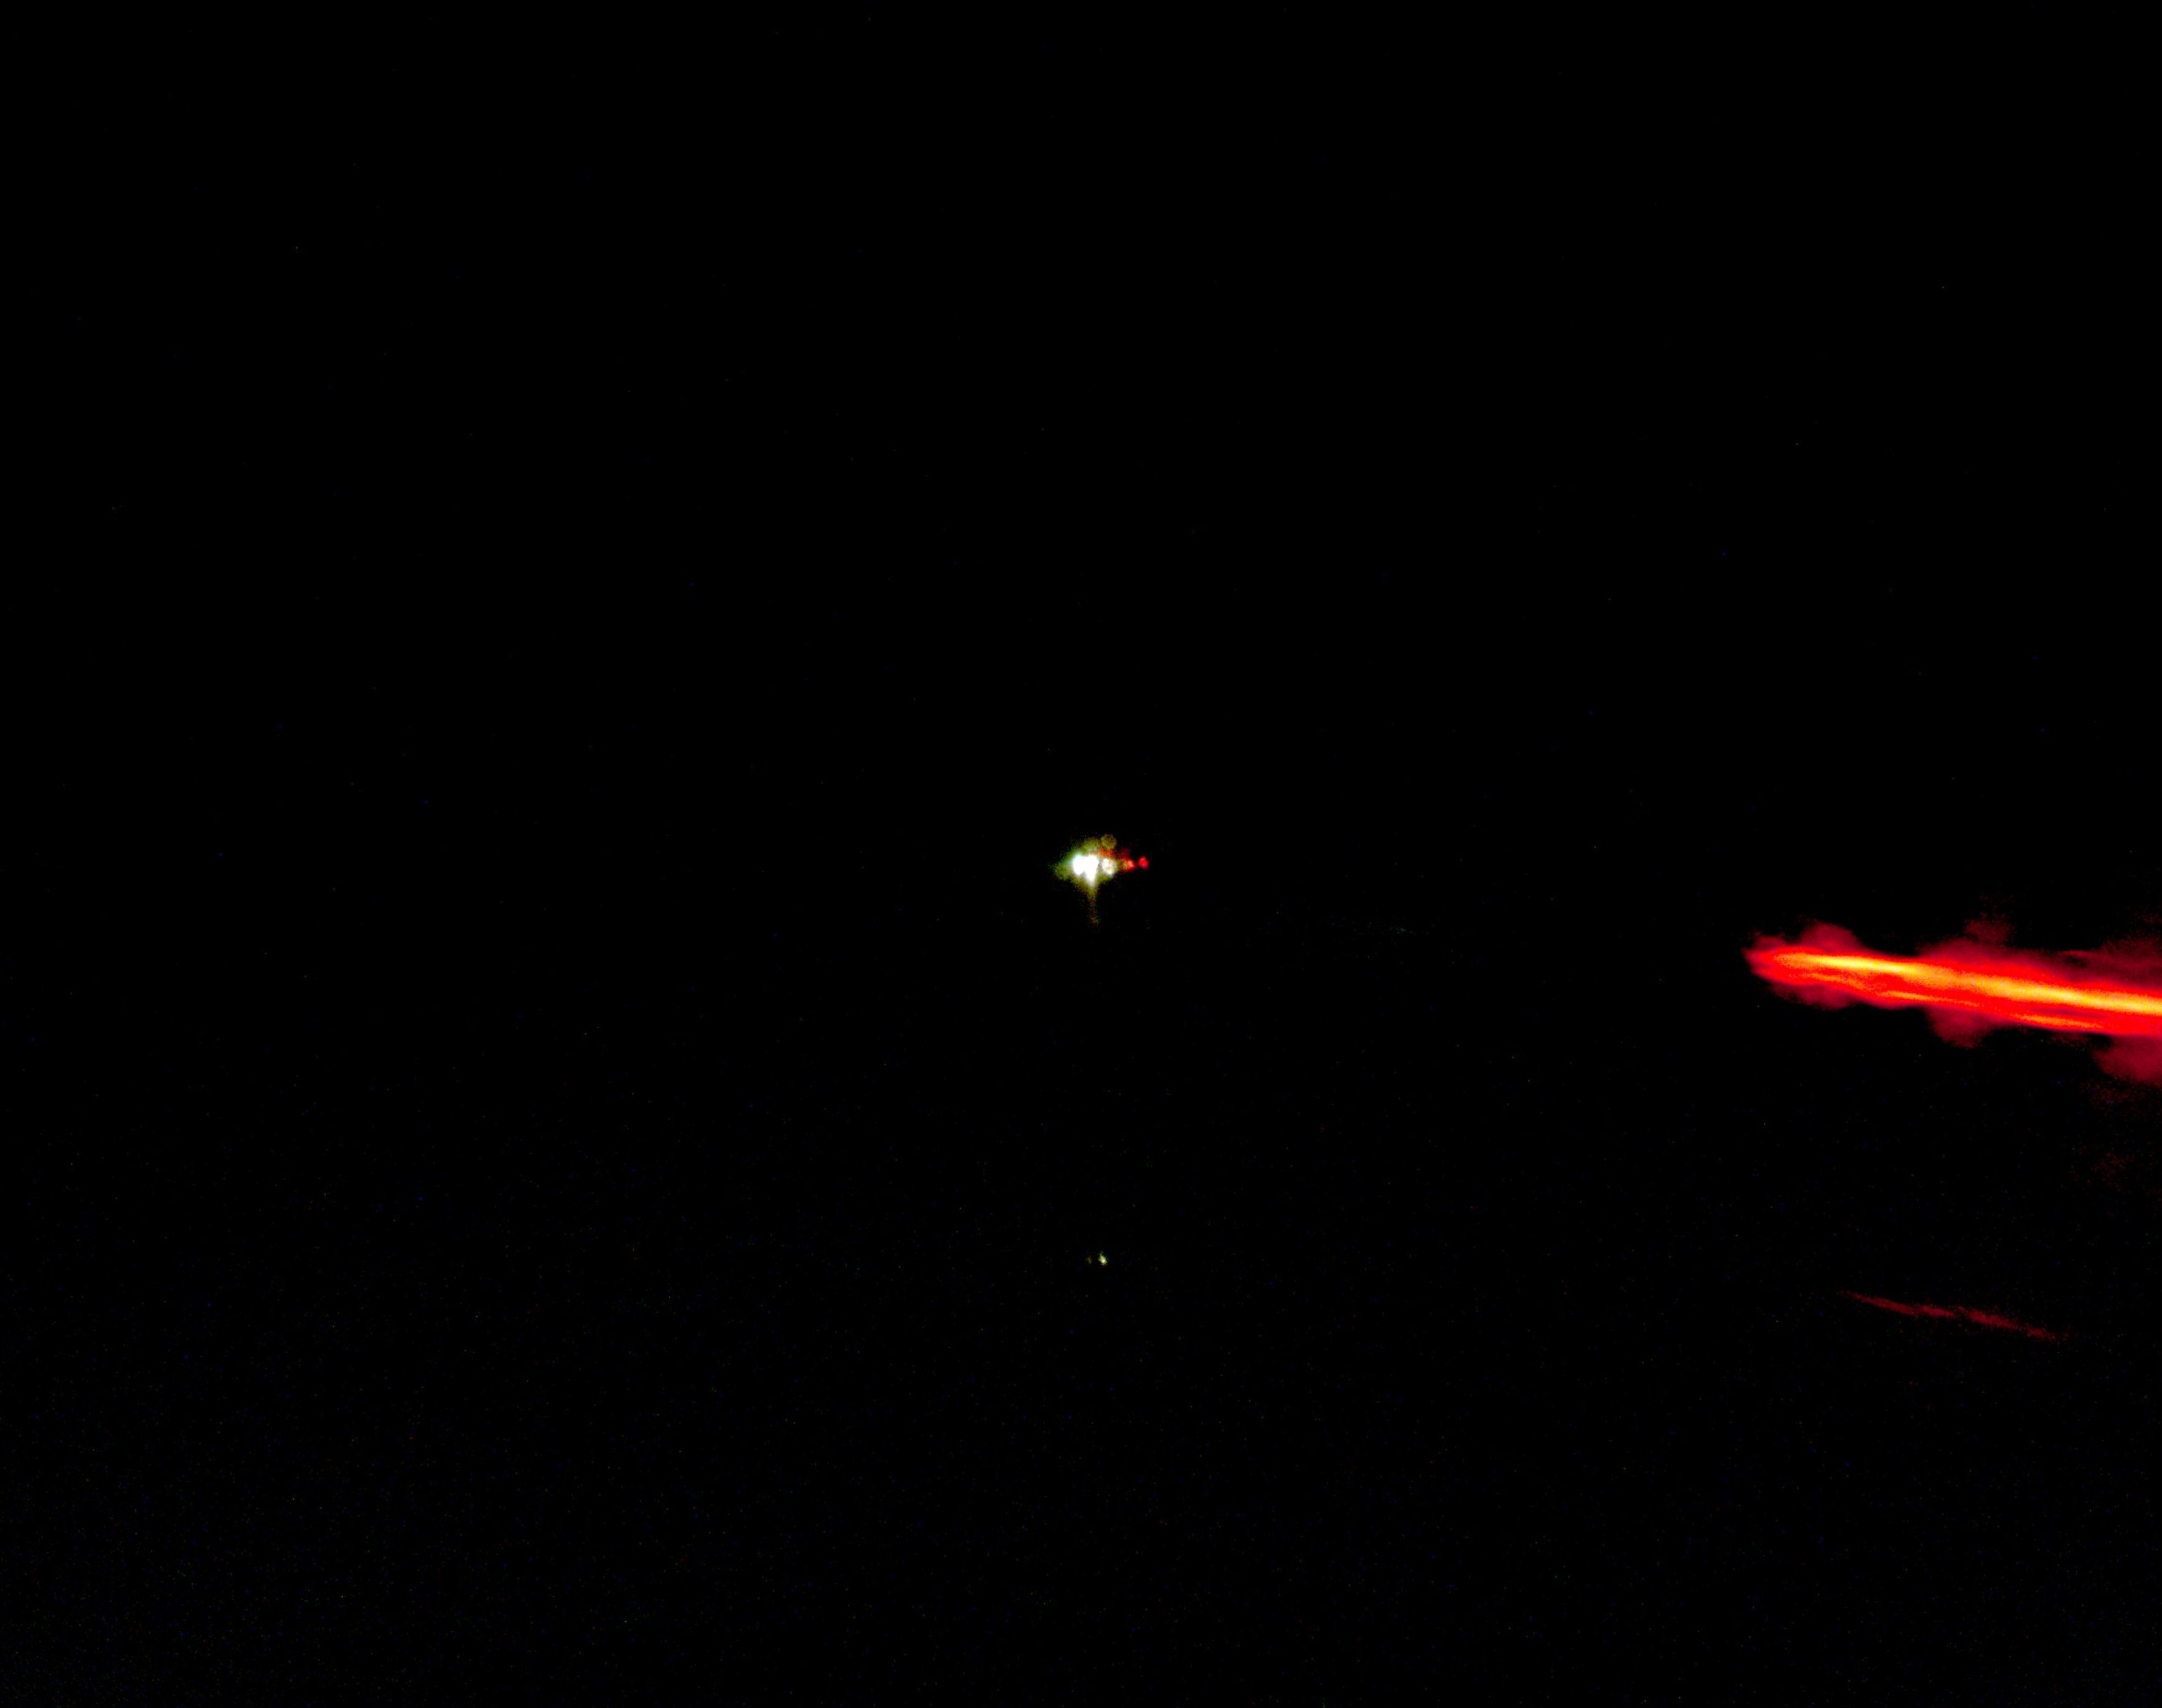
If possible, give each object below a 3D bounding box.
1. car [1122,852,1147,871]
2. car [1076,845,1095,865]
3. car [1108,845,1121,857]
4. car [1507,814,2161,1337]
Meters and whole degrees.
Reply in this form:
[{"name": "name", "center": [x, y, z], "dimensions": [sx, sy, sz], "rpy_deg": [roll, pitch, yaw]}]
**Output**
[{"name": "car", "center": [4.739, 0.649, 67.720], "dimensions": [1.998, 1.540, 3.999], "rpy_deg": [-3, 1, 1]}, {"name": "car", "center": [0.485, 0.068, 83.288], "dimensions": [1.998, 2.002, 3.999], "rpy_deg": [-2, 1, 1]}, {"name": "car", "center": [5.545, -0.505, 124.999], "dimensions": [1.998, 2.002, 3.999], "rpy_deg": [-2, 1, 1]}, {"name": "car", "center": [4.463, 0.669, 4.121], "dimensions": [1.999, 1.652, 3.999], "rpy_deg": [-3, 1, 0]}]
